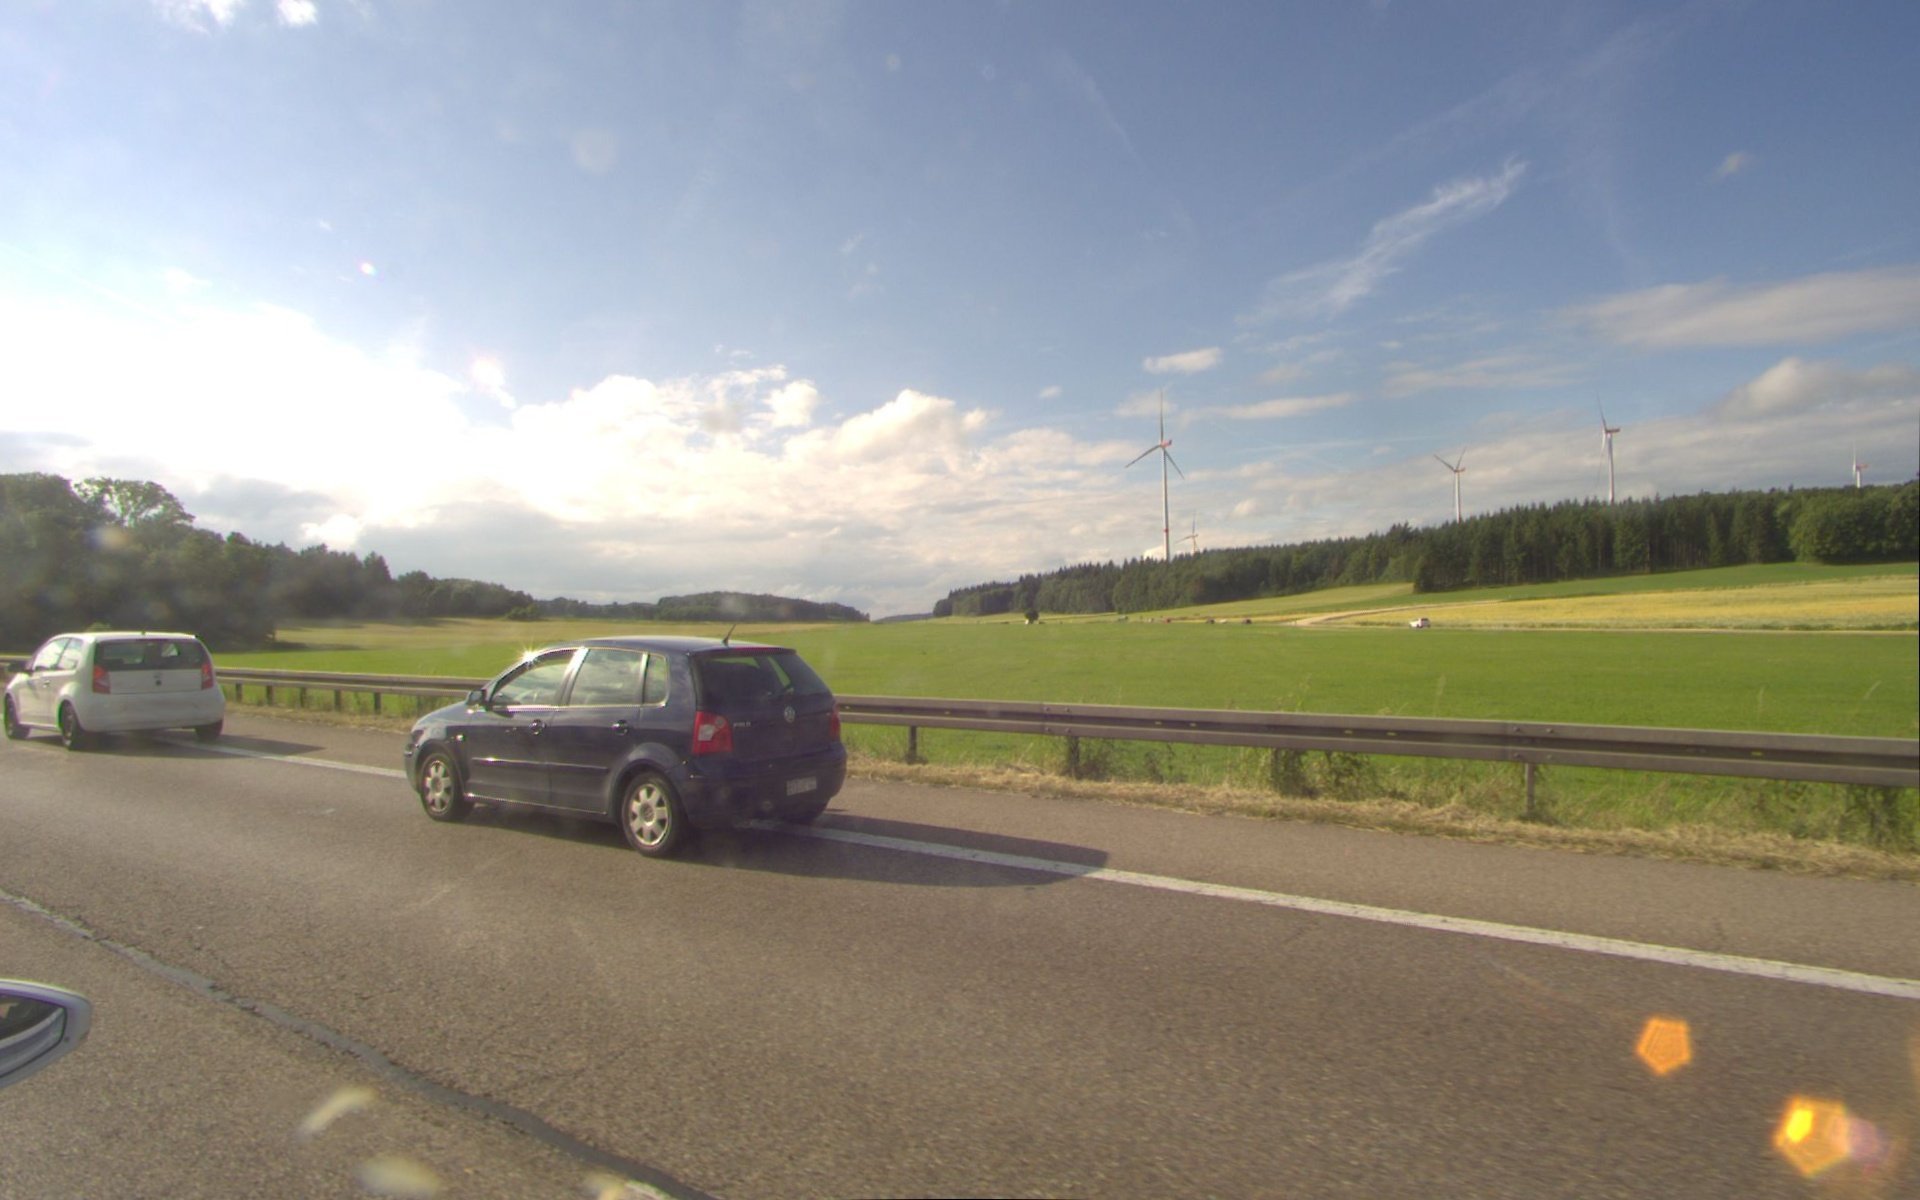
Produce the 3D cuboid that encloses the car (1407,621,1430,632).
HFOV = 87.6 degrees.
[{"bbox_3d":[74.144,4.312,162.029,1.961,1.638,4.002,0,-2,0],"label":"car"}]

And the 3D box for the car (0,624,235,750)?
[{"bbox_3d":[-11.603,1.104,13.724,3.329,1.514,1.546,-1,-1,32],"label":"car"}]

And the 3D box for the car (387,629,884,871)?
[{"bbox_3d":[-2.592,0.982,7.793,3.721,1.464,1.707,-2,-2,32],"label":"car"}]
